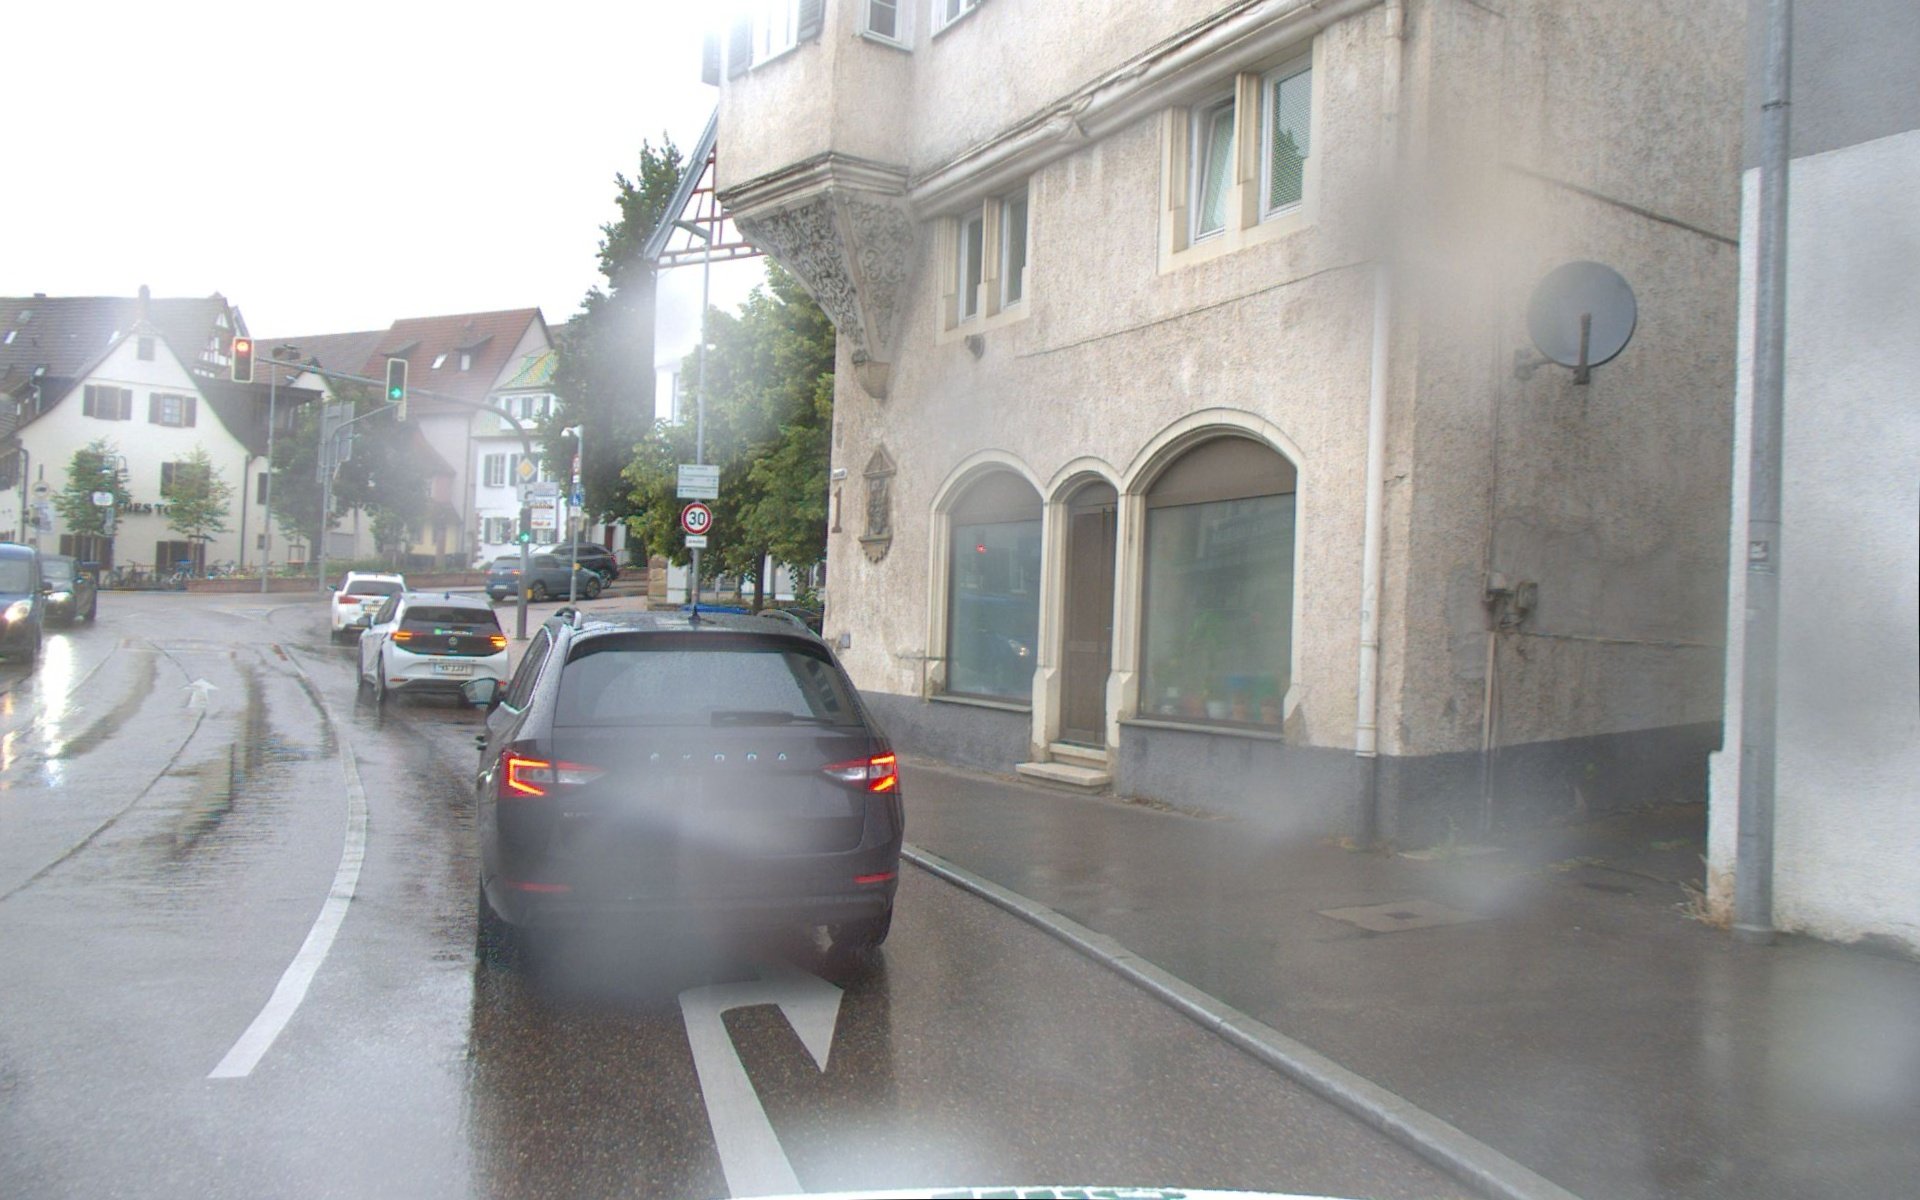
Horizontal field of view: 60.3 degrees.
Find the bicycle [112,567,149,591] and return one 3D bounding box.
[{"bbox_3d":[-30.423,-0.775,60.668,0.330,0.832,1.438,5,2,12],"label":"bicycle"}]

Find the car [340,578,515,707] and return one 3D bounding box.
[{"bbox_3d":[-7.851,0.546,24.161,1.834,1.498,3.967,0,3,-27],"label":"car"}]

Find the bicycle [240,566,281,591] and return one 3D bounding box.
[{"bbox_3d":[-27.554,-0.840,65.177,0.385,0.927,1.465,5,2,33],"label":"bicycle"}]

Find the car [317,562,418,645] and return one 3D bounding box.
[{"bbox_3d":[-13.271,0.039,36.902,1.859,1.623,4.296,2,1,-23],"label":"car"}]

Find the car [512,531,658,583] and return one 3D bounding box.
[{"bbox_3d":[-13.223,-1.513,58.409,4.699,1.615,1.806,2,1,-38],"label":"car"}]

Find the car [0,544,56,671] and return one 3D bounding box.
[{"bbox_3d":[-15.895,0.048,26.811,1.973,1.914,4.332,2,1,-31],"label":"car"}]

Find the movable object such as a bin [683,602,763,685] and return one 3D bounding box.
[{"bbox_3d":[-4.032,0.735,28.051,1.136,1.336,1.180,2,-1,-18],"label":"movable object such as a bin"}]

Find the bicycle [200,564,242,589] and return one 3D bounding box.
[{"bbox_3d":[-28.624,-0.908,64.099,0.385,0.927,1.465,5,2,33],"label":"bicycle"}]

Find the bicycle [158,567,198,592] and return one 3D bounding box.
[{"bbox_3d":[-29.290,-0.770,61.946,0.383,0.928,1.470,3,1,21],"label":"bicycle"}]

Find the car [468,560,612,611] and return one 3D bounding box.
[{"bbox_3d":[-12.901,-0.436,51.049,1.959,1.324,3.987,3,0,34],"label":"car"}]

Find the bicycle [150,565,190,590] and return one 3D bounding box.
[{"bbox_3d":[-29.682,-0.840,62.152,0.383,0.928,1.470,3,1,21],"label":"bicycle"}]

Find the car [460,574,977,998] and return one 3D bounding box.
[{"bbox_3d":[-1.456,0.746,8.133,1.857,1.473,4.336,2,-2,-17],"label":"car"}]

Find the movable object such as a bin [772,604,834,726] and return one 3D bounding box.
[{"bbox_3d":[-1.968,0.802,20.695,0.633,1.467,0.410,3,1,43],"label":"movable object such as a bin"}]
